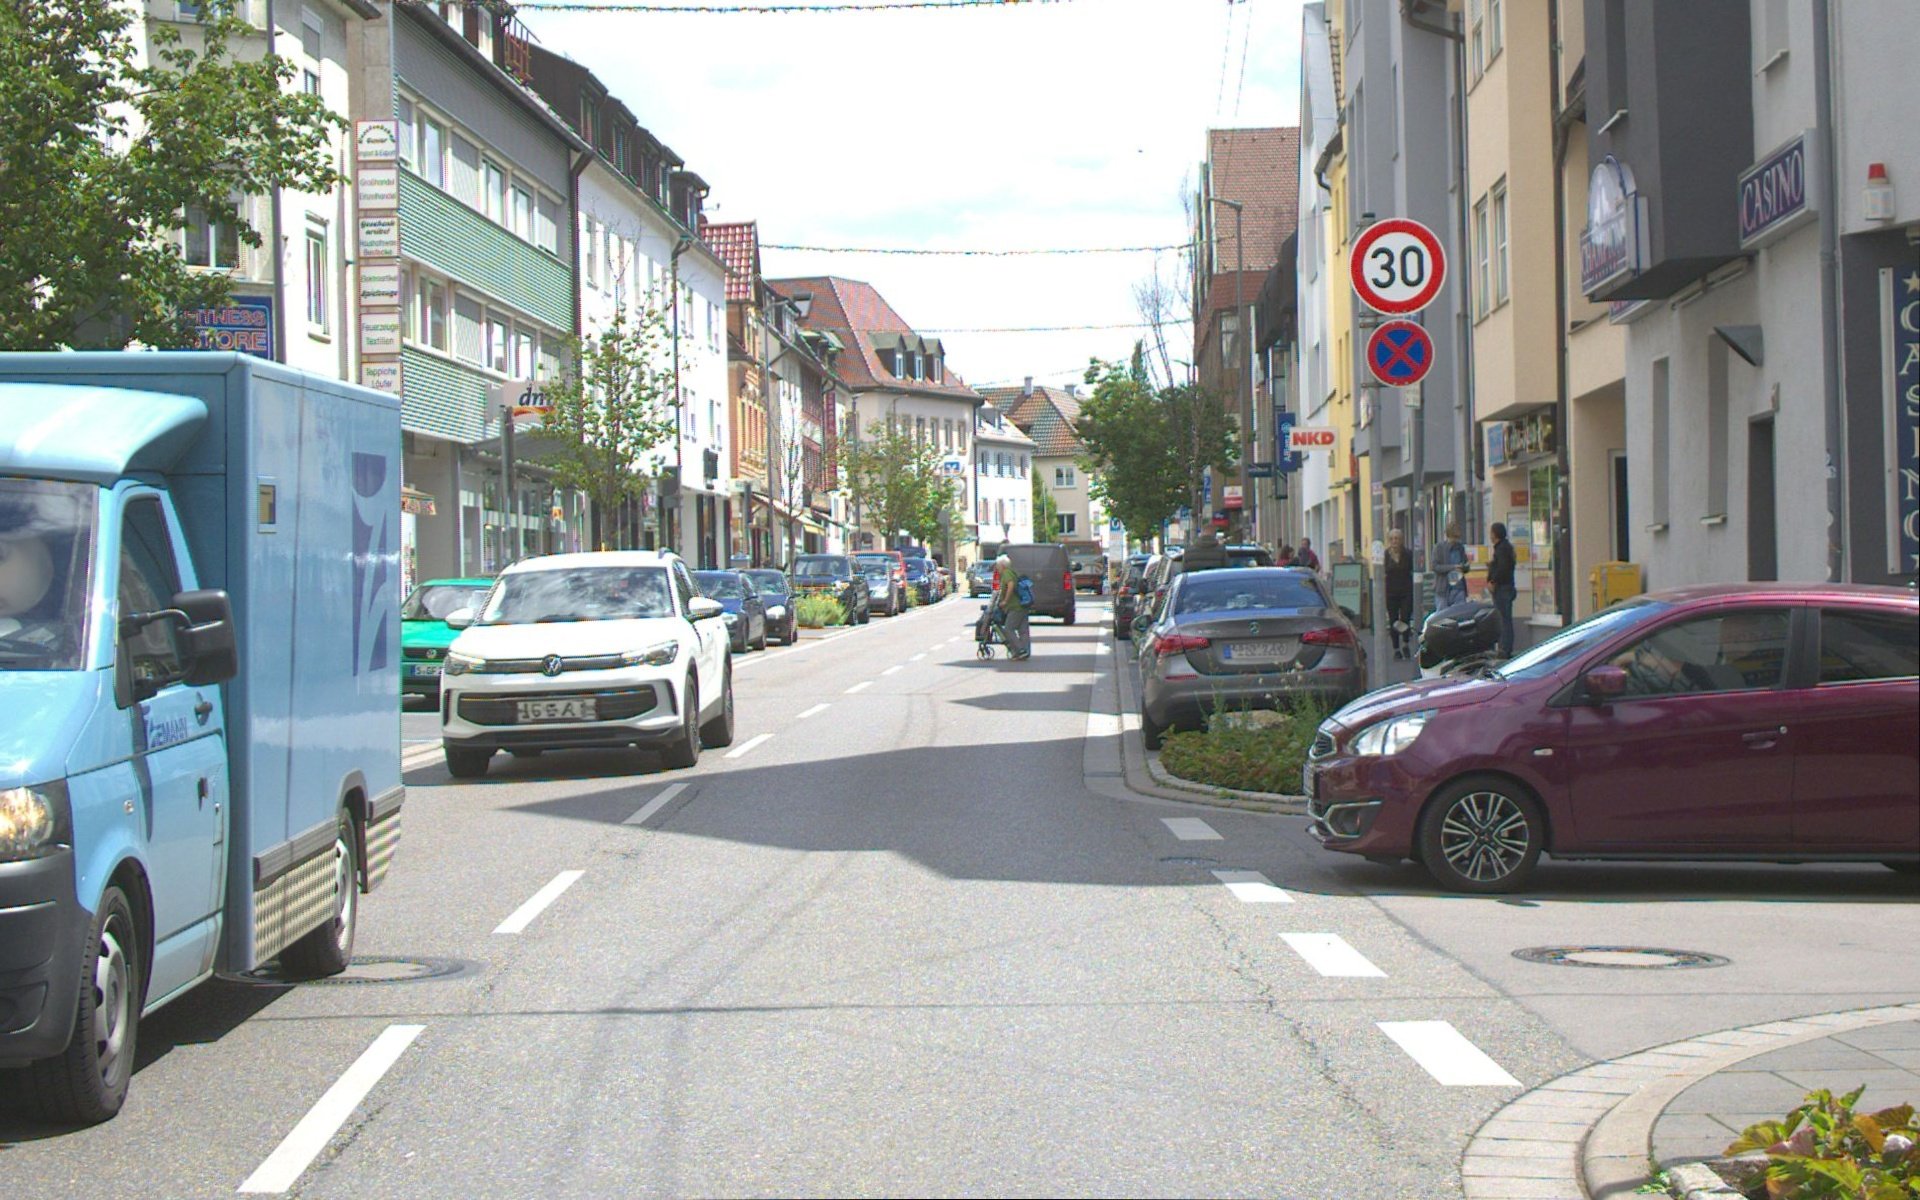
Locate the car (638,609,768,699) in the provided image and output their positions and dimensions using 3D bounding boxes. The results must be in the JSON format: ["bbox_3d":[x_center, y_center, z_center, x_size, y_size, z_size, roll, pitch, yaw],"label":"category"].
[{"bbox_3d":[-4.591,0.940,62.065,1.790,1.507,4.712,0,0,2],"label":"car"}]

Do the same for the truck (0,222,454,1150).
[{"bbox_3d":[-3.246,0.210,11.750,2.106,2.297,6.476,1,0,-1],"label":"truck"}]

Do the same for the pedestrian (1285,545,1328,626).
[{"bbox_3d":[6.706,-0.279,66.571,0.750,1.548,0.726,-1,0,2],"label":"pedestrian"}]

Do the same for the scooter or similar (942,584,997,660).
[{"bbox_3d":[0.135,0.327,51.142,0.781,1.122,0.630,1,0,-2],"label":"scooter or similar"}]

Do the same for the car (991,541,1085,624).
[{"bbox_3d":[1.846,-0.381,79.975,2.041,1.842,4.999,1,0,3],"label":"car"}]

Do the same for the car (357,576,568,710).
[{"bbox_3d":[-5.500,0.461,38.362,1.586,1.409,3.668,1,0,4],"label":"car"}]

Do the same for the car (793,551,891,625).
[{"bbox_3d":[-2.869,-0.282,84.633,1.816,1.749,4.668,1,0,5],"label":"car"}]

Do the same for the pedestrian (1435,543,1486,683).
[{"bbox_3d":[6.158,0.157,42.346,0.535,1.712,0.606,1,0,1],"label":"pedestrian"}]

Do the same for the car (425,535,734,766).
[{"bbox_3d":[-2.860,0.369,26.670,1.788,1.634,4.115,1,0,2],"label":"car"}]

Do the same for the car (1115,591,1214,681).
[{"bbox_3d":[3.770,0.636,63.947,1.689,1.467,4.524,1,2,2],"label":"car"}]

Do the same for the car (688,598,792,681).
[{"bbox_3d":[-4.250,0.746,66.983,1.790,1.498,4.178,1,0,-1],"label":"car"}]

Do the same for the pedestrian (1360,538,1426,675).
[{"bbox_3d":[5.482,0.087,43.591,0.743,1.712,0.656,-1,0,1],"label":"pedestrian"}]

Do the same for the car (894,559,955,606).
[{"bbox_3d":[-1.203,-0.615,118.023,1.799,1.592,4.388,0,1,3],"label":"car"}]

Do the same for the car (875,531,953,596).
[{"bbox_3d":[-1.282,-1.017,97.889,1.816,1.749,4.463,1,0,4],"label":"car"}]

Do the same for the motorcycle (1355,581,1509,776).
[{"bbox_3d":[3.187,0.508,23.407,0.659,1.255,2.376,1,0,-1],"label":"motorcycle"}]

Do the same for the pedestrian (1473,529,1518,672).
[{"bbox_3d":[6.487,0.004,41.648,0.435,1.712,0.537,1,0,0],"label":"pedestrian"}]

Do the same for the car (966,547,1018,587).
[{"bbox_3d":[1.307,-1.314,139.616,1.905,1.558,4.645,1,0,3],"label":"car"}]

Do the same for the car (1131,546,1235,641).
[{"bbox_3d":[3.823,-0.102,59.410,1.689,1.568,3.756,1,0,2],"label":"car"}]

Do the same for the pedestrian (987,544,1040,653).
[{"bbox_3d":[0.797,-0.020,51.170,0.731,1.612,0.651,1,0,-2],"label":"pedestrian"}]

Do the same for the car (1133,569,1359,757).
[{"bbox_3d":[2.375,0.490,28.464,1.707,1.415,4.317,1,0,5],"label":"car"}]

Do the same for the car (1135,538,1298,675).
[{"bbox_3d":[3.232,0.056,44.025,1.799,1.598,4.204,-3,1,1],"label":"car"}]

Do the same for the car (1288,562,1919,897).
[{"bbox_3d":[3.536,0.608,16.762,3.746,1.525,1.537,1,0,2],"label":"car"}]

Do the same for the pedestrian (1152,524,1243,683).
[{"bbox_3d":[2.859,0.043,41.543,0.975,1.857,0.864,-3,0,1],"label":"pedestrian"}]
